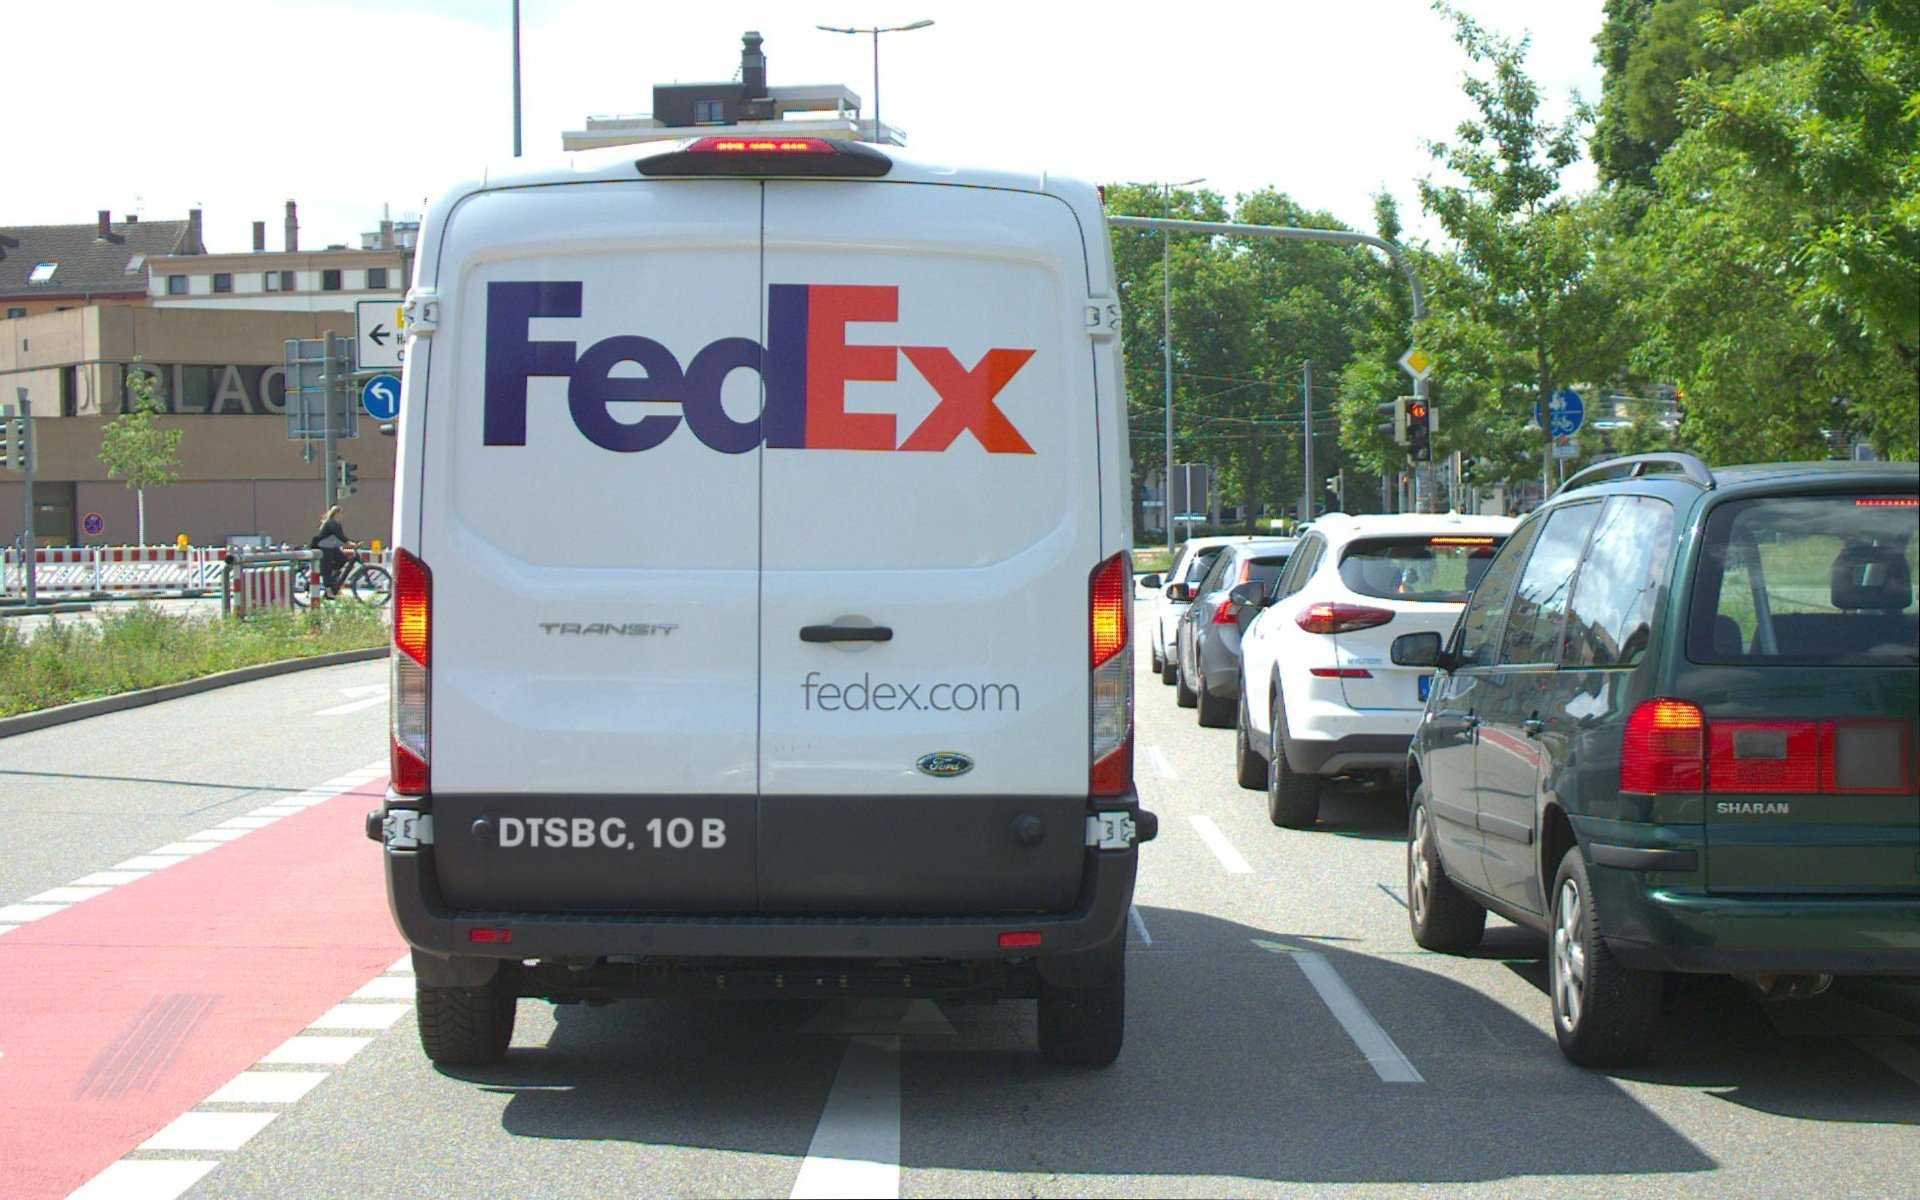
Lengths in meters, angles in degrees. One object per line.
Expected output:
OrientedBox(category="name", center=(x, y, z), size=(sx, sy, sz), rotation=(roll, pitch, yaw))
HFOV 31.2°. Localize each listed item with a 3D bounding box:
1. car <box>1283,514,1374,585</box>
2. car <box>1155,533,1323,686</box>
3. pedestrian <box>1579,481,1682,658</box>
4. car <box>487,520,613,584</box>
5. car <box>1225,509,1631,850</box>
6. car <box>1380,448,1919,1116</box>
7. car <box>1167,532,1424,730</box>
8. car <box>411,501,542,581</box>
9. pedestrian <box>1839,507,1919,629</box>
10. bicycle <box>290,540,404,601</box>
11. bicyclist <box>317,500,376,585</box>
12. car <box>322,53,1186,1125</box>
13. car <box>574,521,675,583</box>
OrientedBox(category="car", center=(9.640, -1.324, 89.737), size=(1.994, 1.787, 4.369), rotation=(-1, 1, 11))
OrientedBox(category="car", center=(2.765, 0.061, 34.590), size=(1.484, 1.423, 3.433), rotation=(0, 1, 2))
OrientedBox(category="pedestrian", center=(7.274, -0.338, 37.304), size=(0.950, 1.886, 0.774), rotation=(-1, 1, 0))
OrientedBox(category="car", center=(-10.498, -1.226, 88.366), size=(1.902, 1.579, 3.998), rotation=(-1, 1, 14))
OrientedBox(category="car", center=(2.480, 0.344, 19.080), size=(1.798, 1.681, 4.000), rotation=(0, 1, 2))
OrientedBox(category="car", center=(2.554, 0.416, 11.096), size=(1.812, 1.728, 4.389), rotation=(0, 1, -1))
OrientedBox(category="car", center=(2.654, 0.197, 27.920), size=(1.798, 1.456, 3.838), rotation=(0, 1, 2))
OrientedBox(category="car", center=(-12.572, -1.524, 89.594), size=(1.995, 2.007, 3.997), rotation=(-1, 1, 14))
OrientedBox(category="pedestrian", center=(11.731, -0.418, 43.782), size=(0.845, 1.533, 0.835), rotation=(-1, 1, 0))
OrientedBox(category="bicycle", center=(-10.699, -0.520, 60.039), size=(1.920, 1.027, 0.548), rotation=(-1, 1, -7))
OrientedBox(category="bicyclist", center=(-10.713, -1.002, 60.029), size=(0.967, 1.469, 0.551), rotation=(-1, 1, -7))
OrientedBox(category="car", center=(-0.723, -0.081, 11.396), size=(2.140, 2.643, 5.705), rotation=(0, 1, -4))
OrientedBox(category="car", center=(-9.196, -1.328, 94.551), size=(1.879, 1.646, 3.999), rotation=(-1, 1, 8))
